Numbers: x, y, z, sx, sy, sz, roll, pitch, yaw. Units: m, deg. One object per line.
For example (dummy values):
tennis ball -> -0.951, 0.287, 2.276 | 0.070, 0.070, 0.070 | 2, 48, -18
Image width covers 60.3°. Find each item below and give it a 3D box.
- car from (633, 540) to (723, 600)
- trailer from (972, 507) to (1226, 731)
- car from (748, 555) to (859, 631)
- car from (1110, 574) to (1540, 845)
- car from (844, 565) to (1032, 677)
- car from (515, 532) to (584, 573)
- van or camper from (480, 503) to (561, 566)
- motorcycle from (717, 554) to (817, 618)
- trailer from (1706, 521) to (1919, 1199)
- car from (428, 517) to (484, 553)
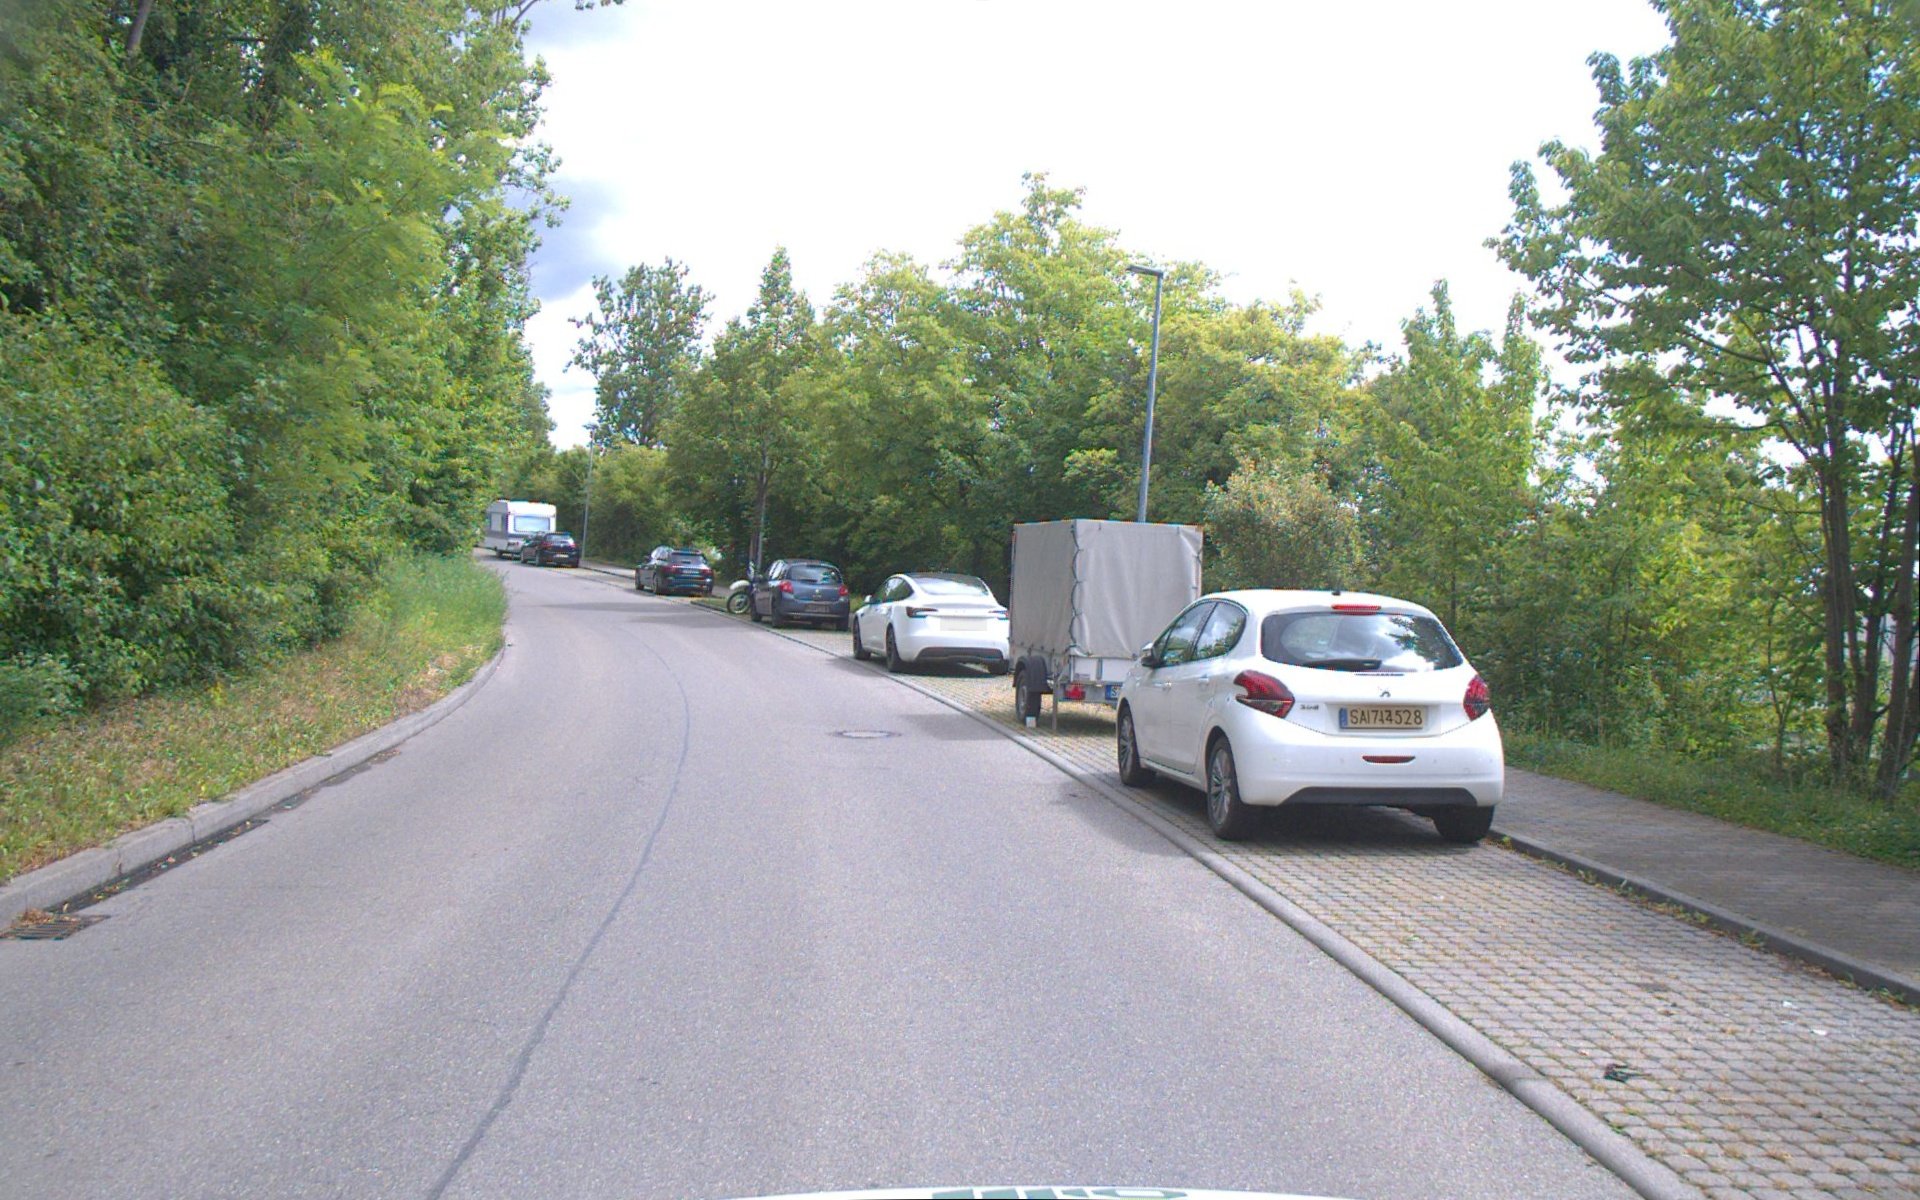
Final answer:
car -> -8.916, -0.972, 51.999 | 1.866, 1.556, 4.519 | 3, 3, -21
trailer -> 1.353, 0.164, 17.648 | 1.699, 2.114, 3.773 | 1, 1, -11
car -> -3.593, -0.198, 37.388 | 1.741, 1.544, 4.090 | 2, 1, -16
car -> 2.225, 0.593, 11.130 | 1.673, 1.503, 3.778 | 1, 1, -7
car -> -0.467, 0.264, 25.954 | 1.831, 1.502, 4.884 | 1, 2, -15
car -> -17.298, -2.010, 69.580 | 1.663, 1.475, 4.438 | 2, 2, -29
van or camper -> -19.864, -2.973, 74.608 | 2.329, 2.597, 5.027 | 1, 3, -29
motorcycle -> -4.763, -0.366, 40.951 | 2.256, 1.501, 0.976 | 1, 1, 7
trailer -> 2.894, 0.677, 1.997 | 1.773, 1.606, 4.487 | 1, 0, -3
car -> -26.204, -3.373, 85.893 | 1.786, 1.627, 4.328 | 1, 4, -31
